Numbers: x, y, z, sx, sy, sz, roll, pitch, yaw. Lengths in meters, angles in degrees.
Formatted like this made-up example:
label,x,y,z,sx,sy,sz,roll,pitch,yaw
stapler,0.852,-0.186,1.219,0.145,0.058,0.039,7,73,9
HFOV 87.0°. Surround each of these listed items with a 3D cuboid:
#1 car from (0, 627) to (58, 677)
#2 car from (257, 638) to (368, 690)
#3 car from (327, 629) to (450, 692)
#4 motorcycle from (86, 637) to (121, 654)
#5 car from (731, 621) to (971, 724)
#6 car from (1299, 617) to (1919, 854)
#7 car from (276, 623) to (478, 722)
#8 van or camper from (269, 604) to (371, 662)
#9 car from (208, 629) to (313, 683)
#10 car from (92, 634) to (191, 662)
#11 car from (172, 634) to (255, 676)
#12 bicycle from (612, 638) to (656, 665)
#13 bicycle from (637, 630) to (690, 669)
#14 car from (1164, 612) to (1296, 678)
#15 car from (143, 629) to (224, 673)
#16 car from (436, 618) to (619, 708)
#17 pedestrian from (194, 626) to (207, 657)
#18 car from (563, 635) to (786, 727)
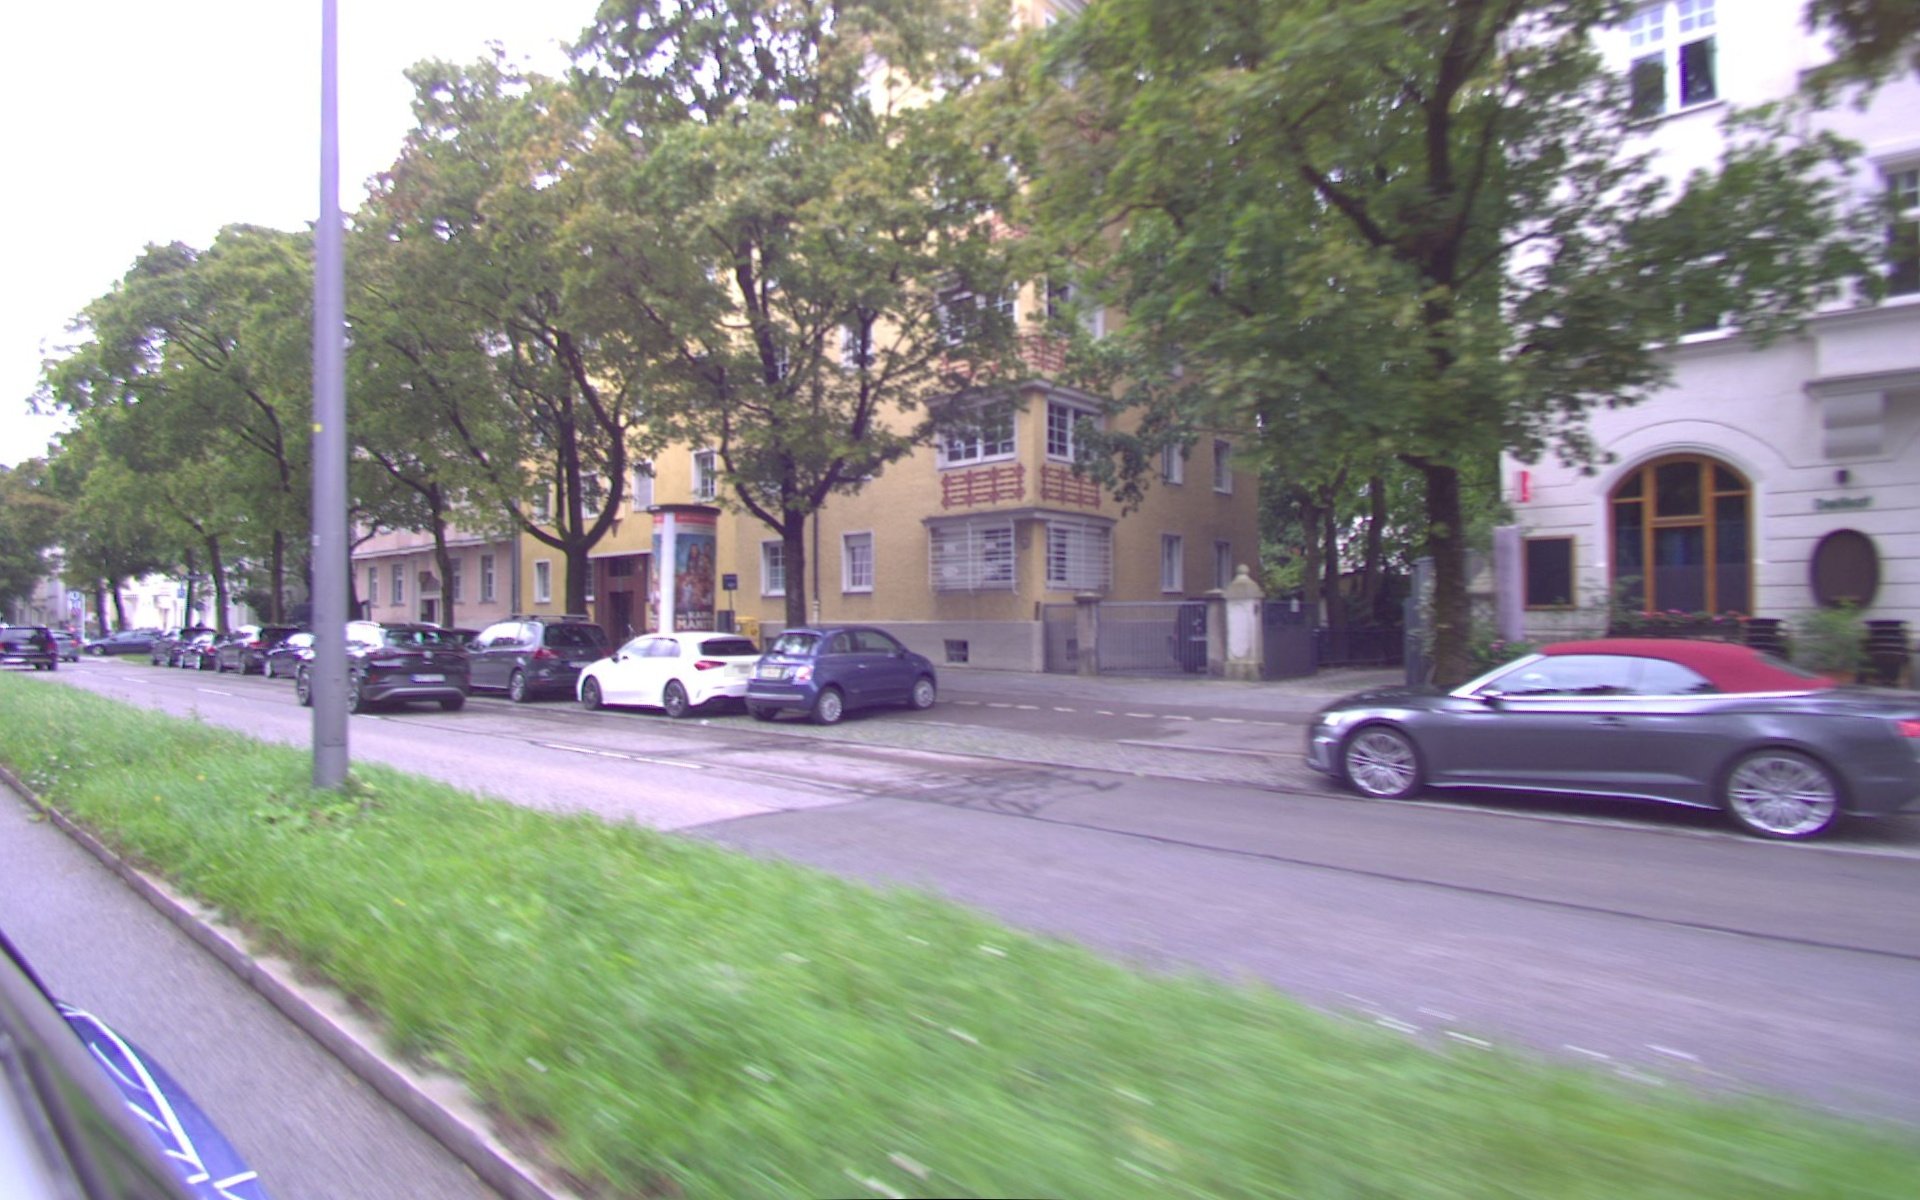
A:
label,x,y,z,sx,sy,sz,roll,pitch,yaw
car,-33.974,1.860,36.378,4.367,1.692,1.751,-2,-4,42
car,-19.512,1.868,30.443,4.361,1.416,1.708,-2,-2,42
car,-15.689,1.594,27.701,4.055,1.573,1.708,-2,-2,42
motorcycle,-62.968,3.333,74.420,1.924,1.158,0.598,0,-2,-28
car,-1.694,1.100,16.721,1.731,1.475,3.850,-2,-2,40
car,5.443,0.931,8.422,4.643,1.518,1.791,-2,-2,42
car,-10.861,1.285,18.721,4.619,1.597,1.855,-2,-4,42
van or camper,-30.477,1.555,48.068,6.848,2.599,2.321,-2,-2,42
car,-23.779,1.854,34.352,4.768,1.658,1.859,-2,-2,42
car,-45.108,2.640,55.896,3.931,1.386,1.868,-1,-2,-27
car,-28.331,2.058,38.361,4.491,1.465,1.674,-2,-2,42
bicycle,-11.149,1.754,34.591,1.930,0.906,0.536,-2,-2,41
bicycle,-9.632,1.584,32.836,1.930,1.231,0.761,-2,-2,41
car,6.859,1.086,25.508,1.757,1.521,3.850,-2,-2,40
car,-32.160,2.090,41.863,4.437,1.700,1.854,-2,-2,42
car,-9.399,1.286,21.811,4.765,1.741,1.791,-2,-2,42
pedestrian,-51.355,2.807,68.417,0.590,2.075,0.686,0,-2,-29
car,-5.160,1.341,17.962,4.402,1.413,1.708,-2,-2,42
